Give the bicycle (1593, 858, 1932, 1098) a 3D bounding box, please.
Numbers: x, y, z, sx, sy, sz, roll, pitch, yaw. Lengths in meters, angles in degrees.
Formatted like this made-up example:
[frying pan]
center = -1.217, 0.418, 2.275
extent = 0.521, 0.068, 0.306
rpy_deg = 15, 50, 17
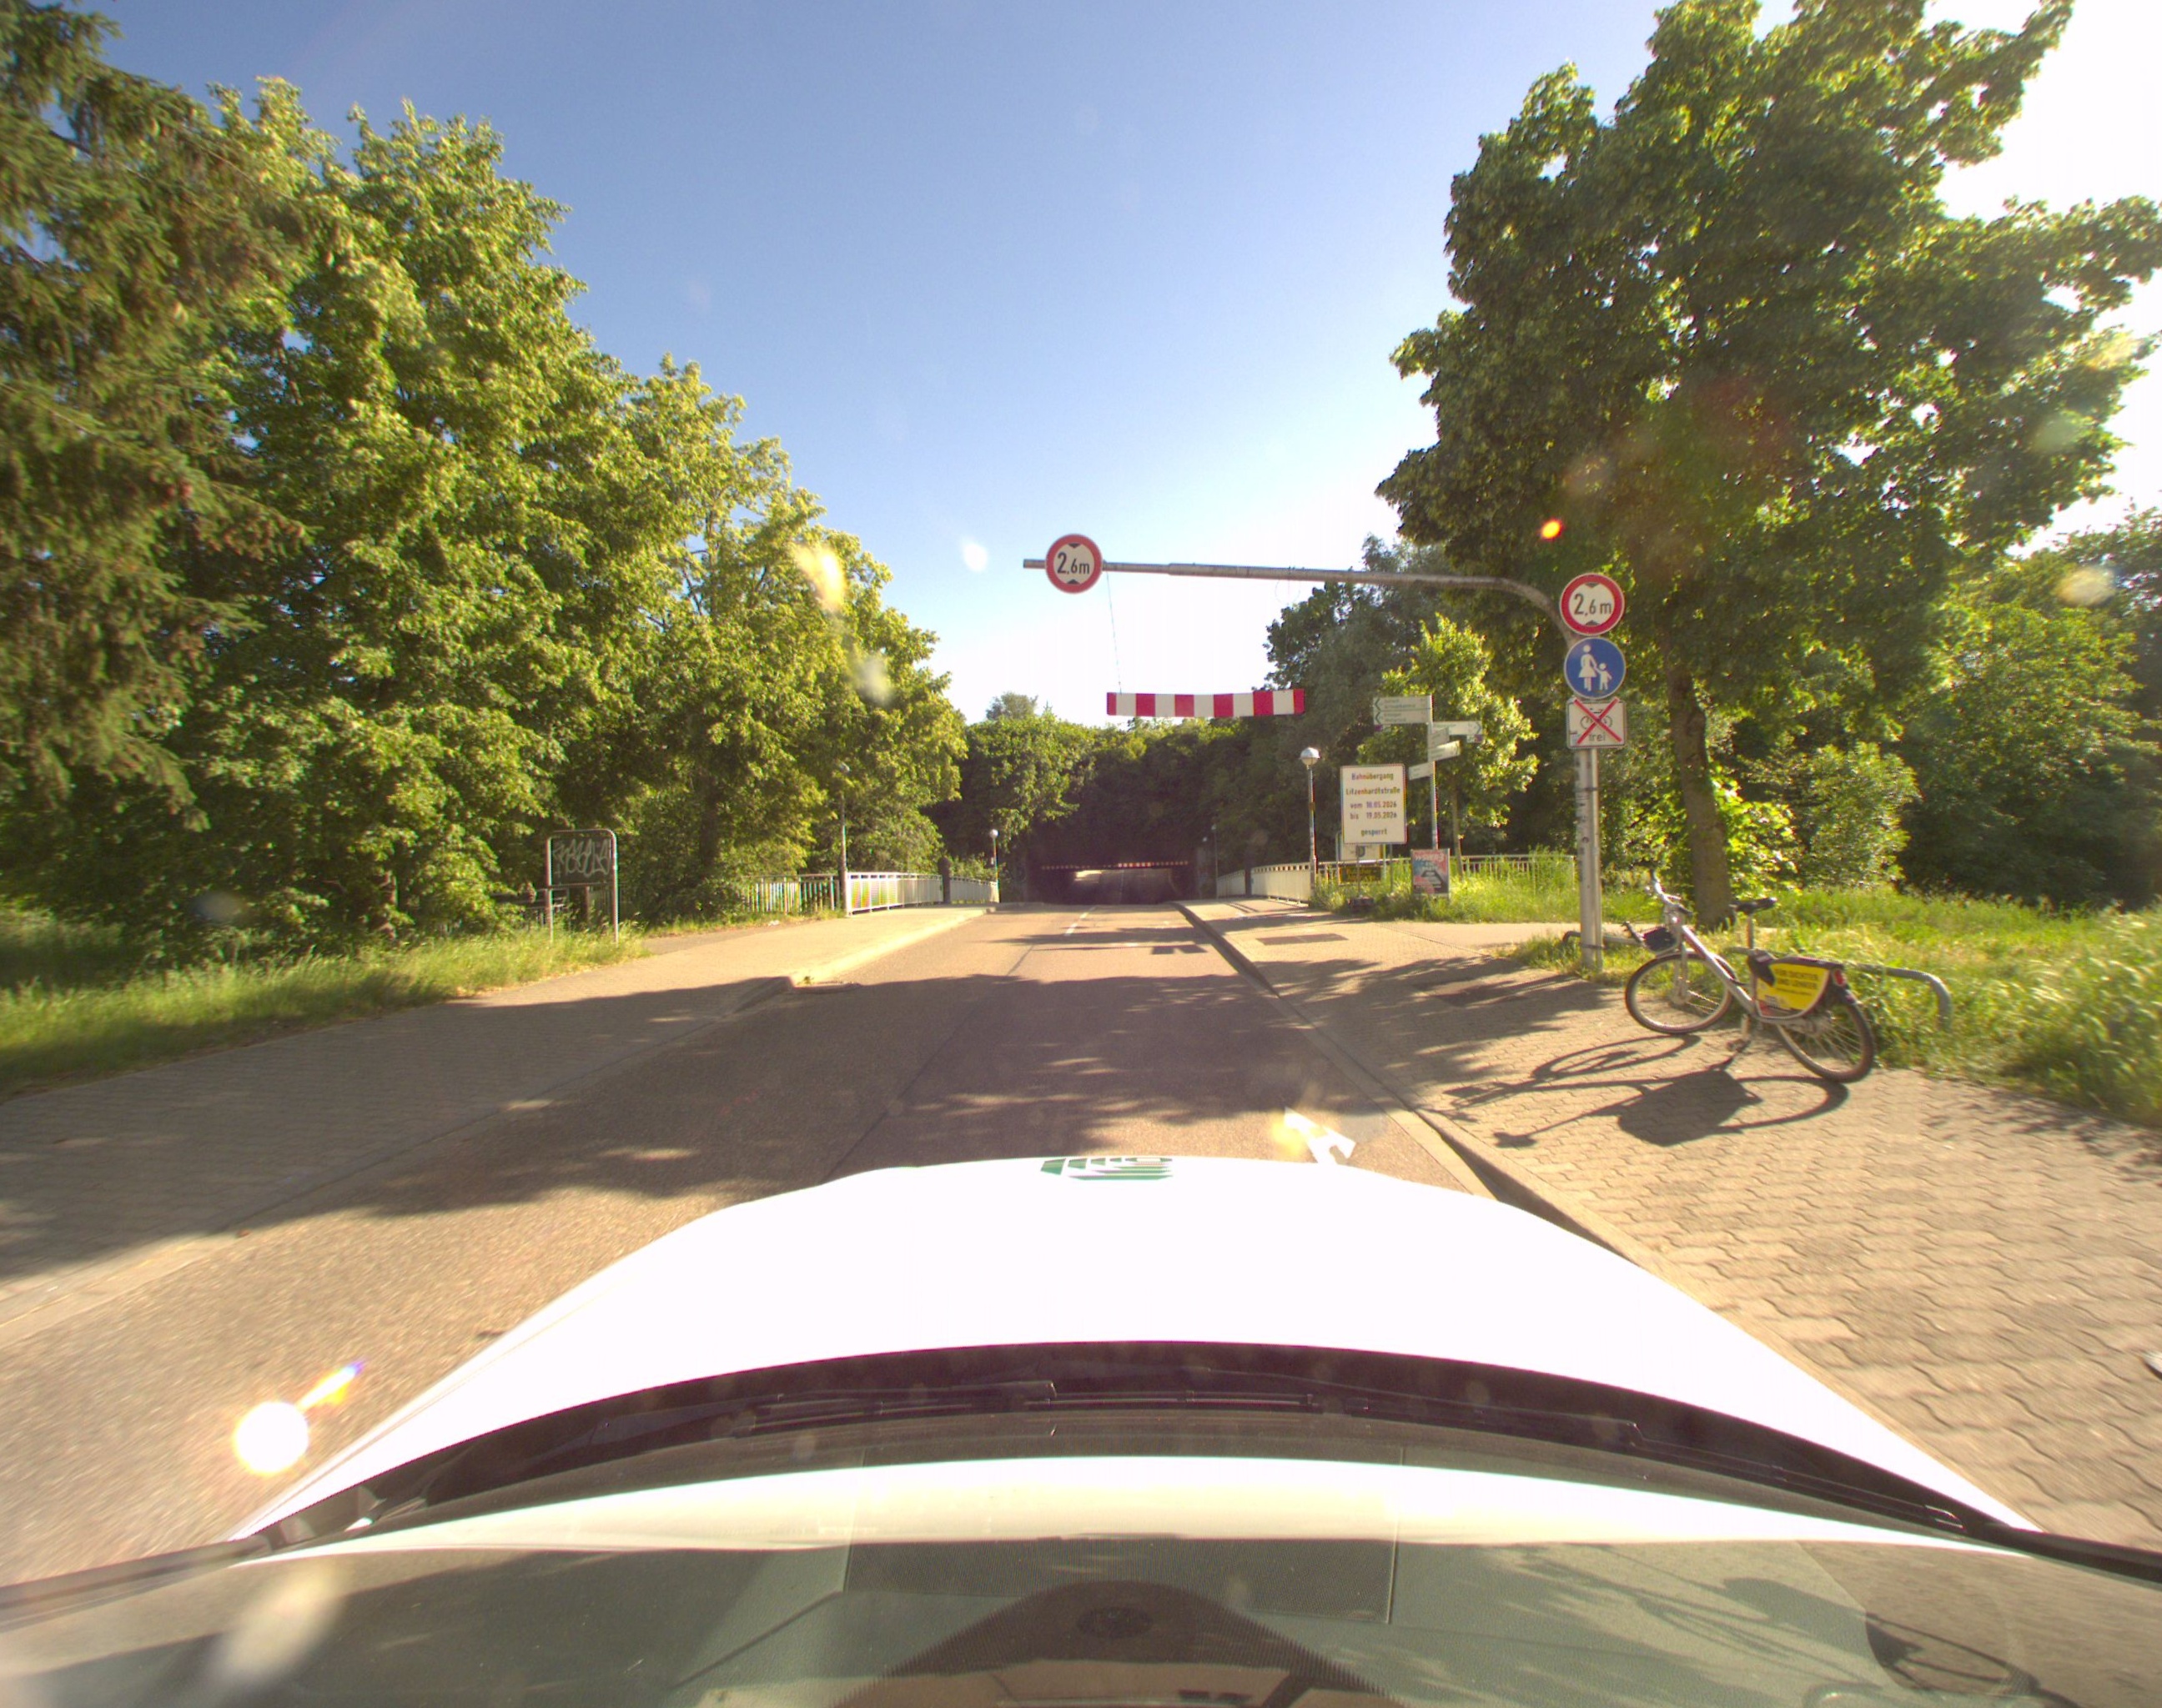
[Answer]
[bicycle]
center = 3.990, 0.644, 4.962
extent = 0.686, 1.157, 1.540
rpy_deg = -6, 0, 1
